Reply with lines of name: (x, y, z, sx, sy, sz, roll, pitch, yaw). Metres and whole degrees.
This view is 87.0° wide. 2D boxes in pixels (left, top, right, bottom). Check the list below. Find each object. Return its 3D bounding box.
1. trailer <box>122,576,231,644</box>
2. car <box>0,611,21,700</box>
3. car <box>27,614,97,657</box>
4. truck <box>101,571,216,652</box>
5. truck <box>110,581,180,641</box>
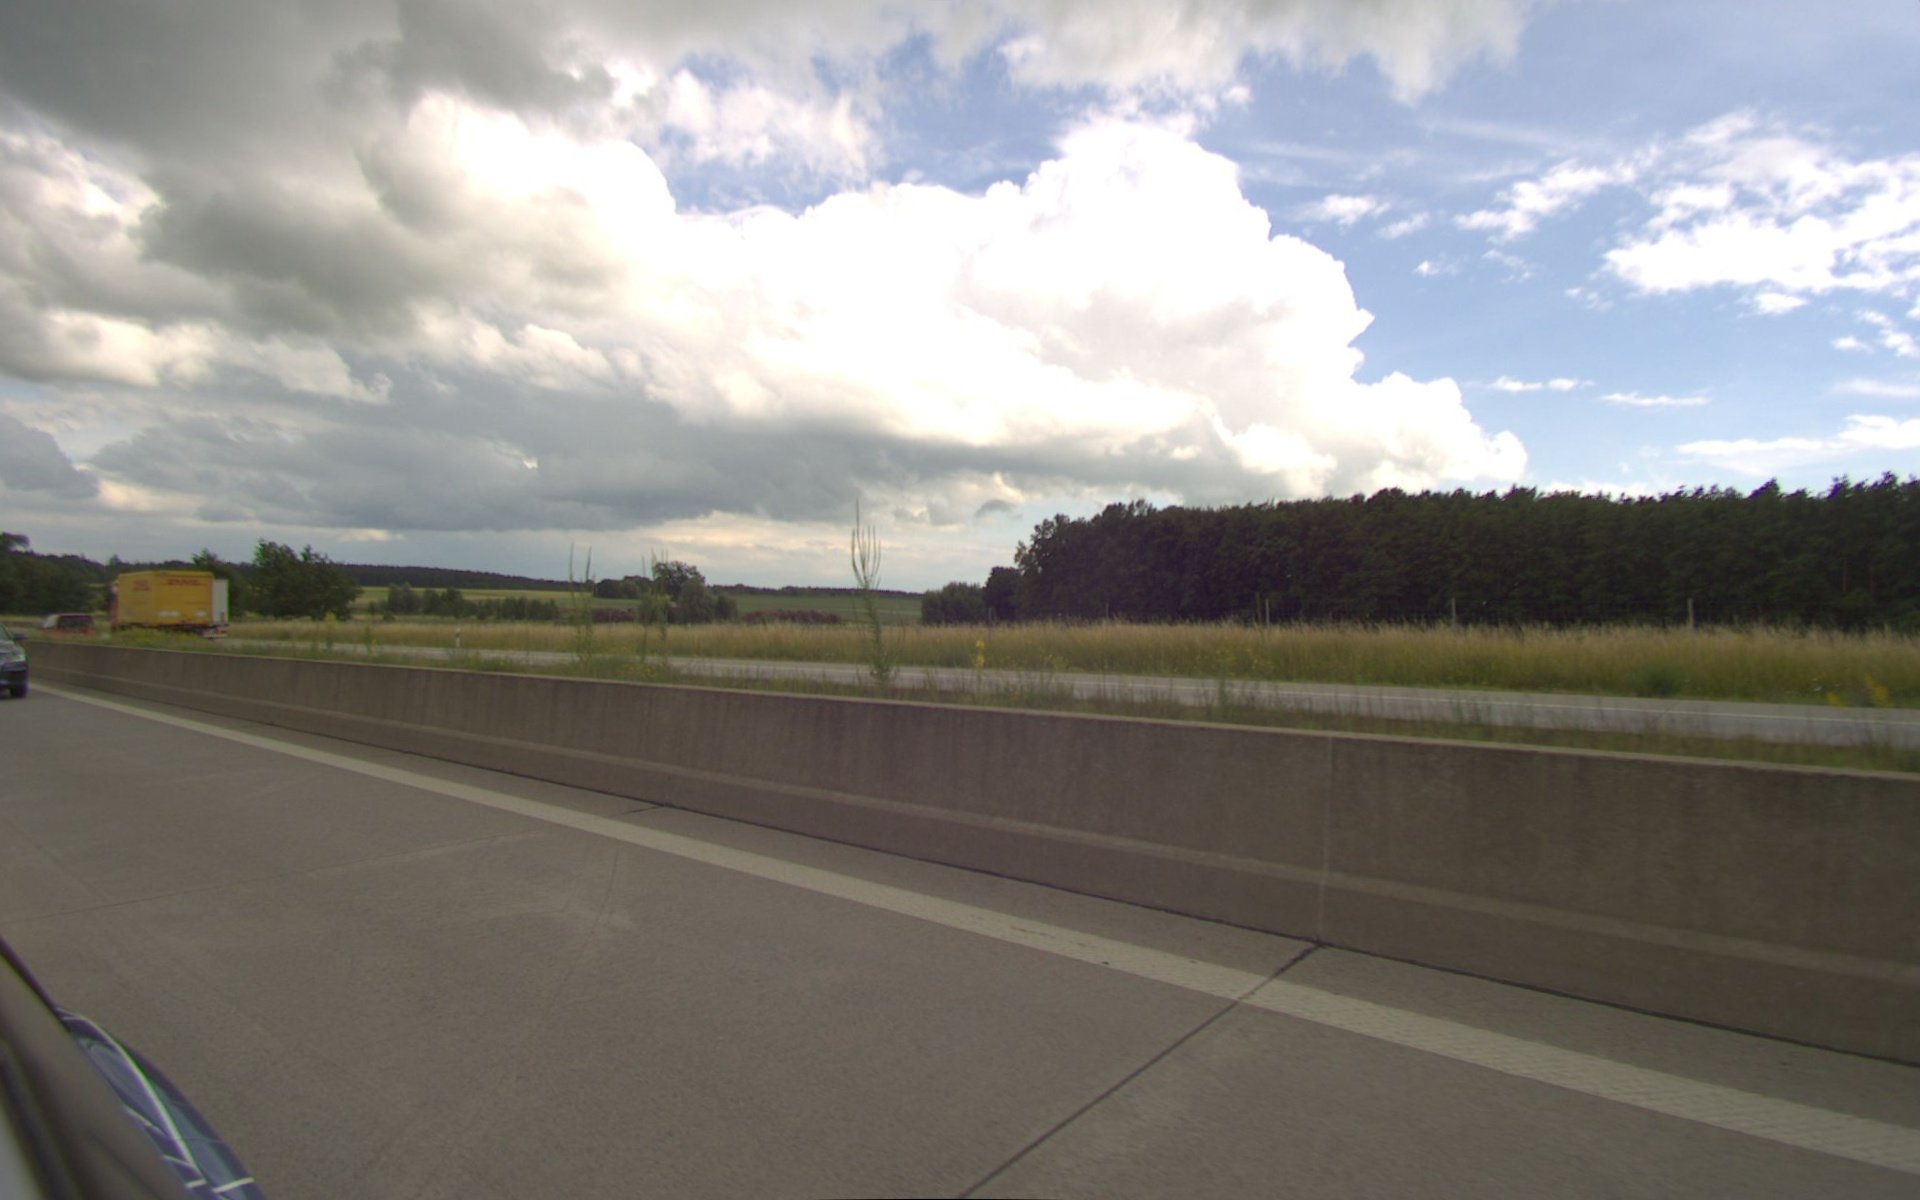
trailer: (-51.787, 0.741, 66.632, 13.896, 4.069, 2.811, -1, -2, 40)
car: (-19.733, 1.047, 19.691, 5.157, 1.608, 1.773, -1, -1, 43)
car: (-44.954, 1.734, 50.634, 5.334, 1.977, 1.795, 0, 0, 39)
truck: (-43.608, 0.679, 54.894, 10.559, 4.069, 2.788, -1, -2, 40)
truck: (-57.634, 0.780, 71.523, 5.506, 4.069, 2.811, -1, -2, 40)
